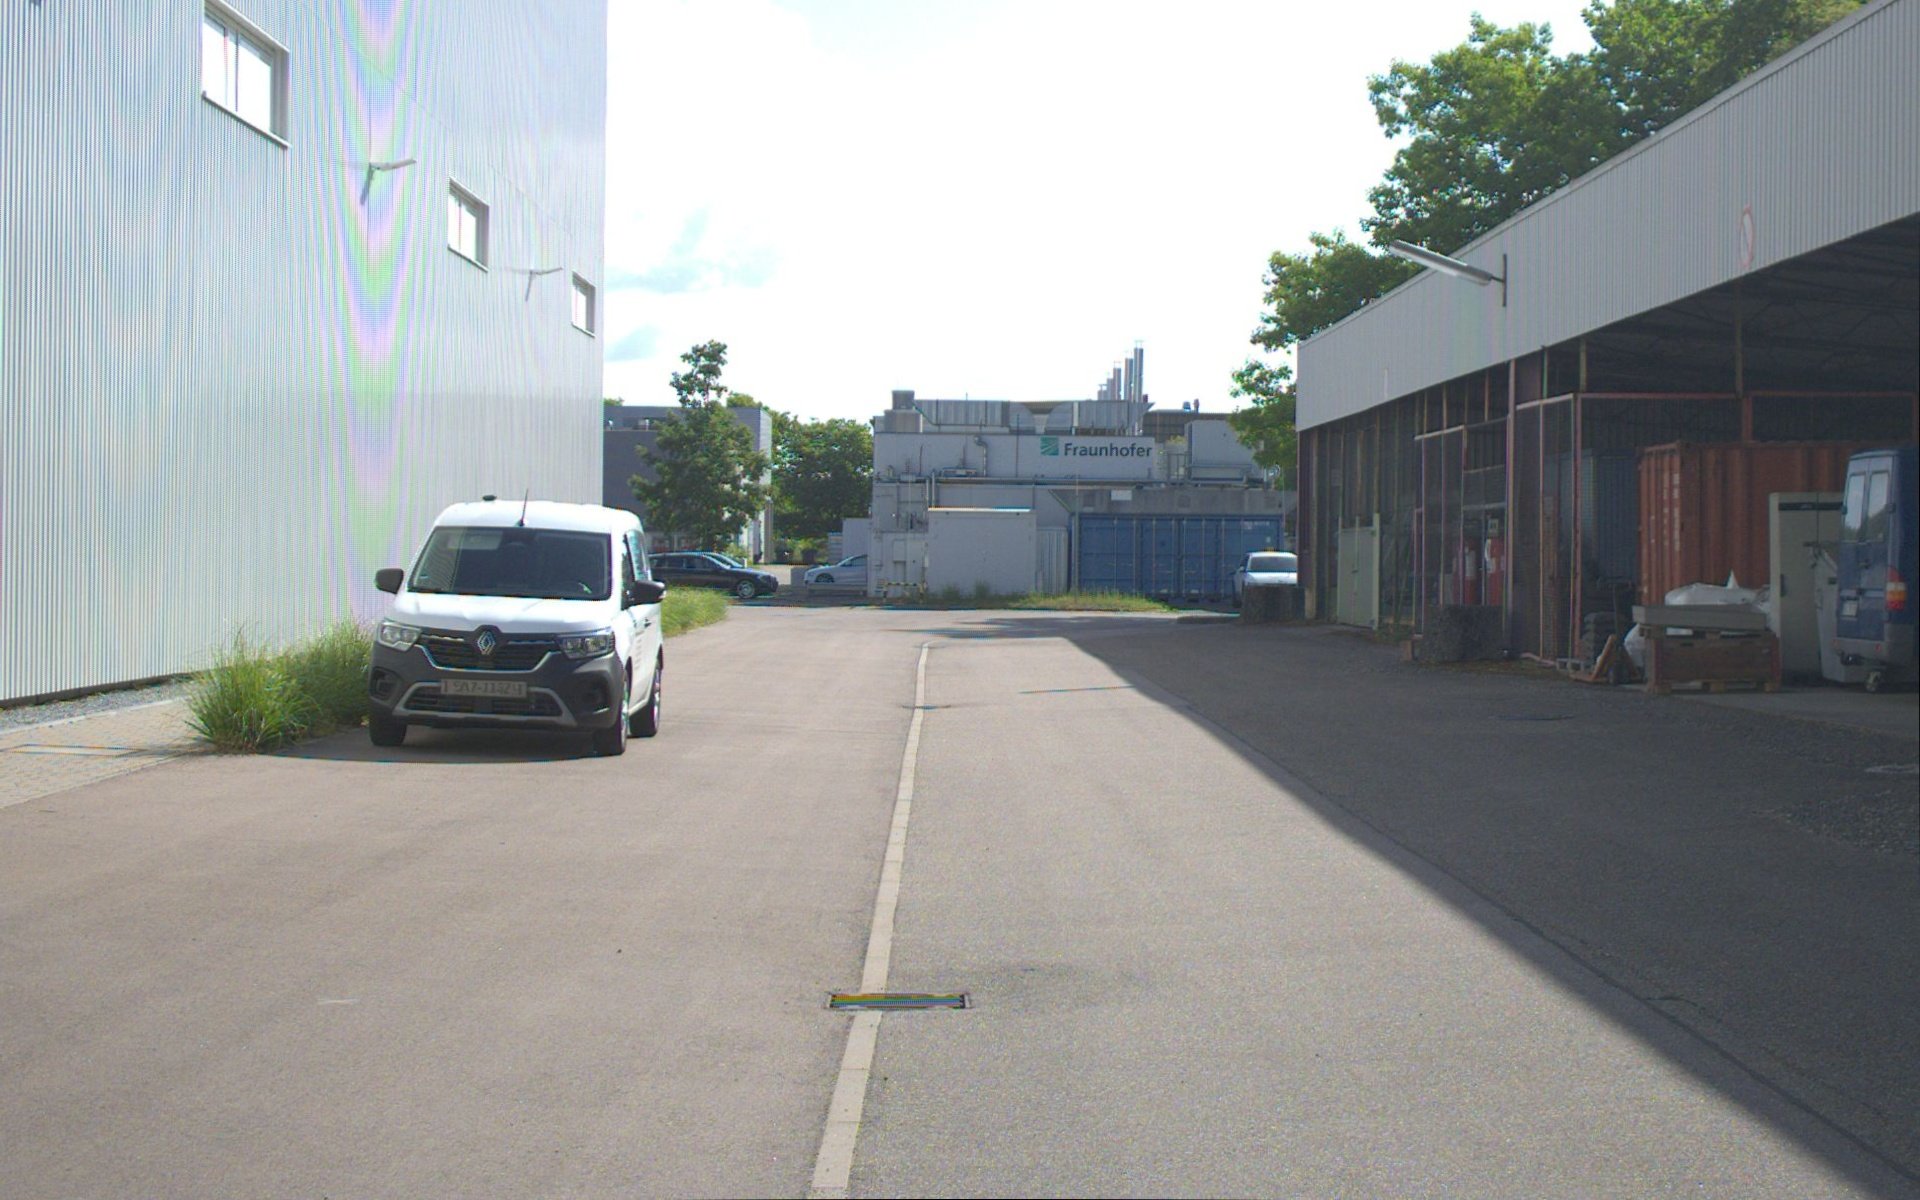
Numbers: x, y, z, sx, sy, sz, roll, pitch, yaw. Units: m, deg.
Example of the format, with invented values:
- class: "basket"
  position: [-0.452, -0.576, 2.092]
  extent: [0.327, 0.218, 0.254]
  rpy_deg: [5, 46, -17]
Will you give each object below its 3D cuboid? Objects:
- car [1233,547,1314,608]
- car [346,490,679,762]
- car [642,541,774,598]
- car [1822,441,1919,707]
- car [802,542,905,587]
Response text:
- class: "car"
  position: [8.664, -0.649, 95.318]
  extent: [1.962, 1.559, 4.059]
  rpy_deg: [2, 1, 2]
- class: "car"
  position: [-3.222, 0.130, 25.566]
  extent: [1.818, 1.781, 4.405]
  rpy_deg: [2, 1, 0]
- class: "car"
  position: [-7.893, -0.946, 107.801]
  extent: [3.987, 1.592, 1.742]
  rpy_deg: [2, -1, -1]
- class: "car"
  position: [10.215, -0.133, 30.835]
  extent: [4.433, 2.302, 1.915]
  rpy_deg: [2, -1, 1]
- class: "car"
  position: [-4.187, -1.394, 135.665]
  extent: [3.987, 1.592, 1.848]
  rpy_deg: [2, -1, -1]
